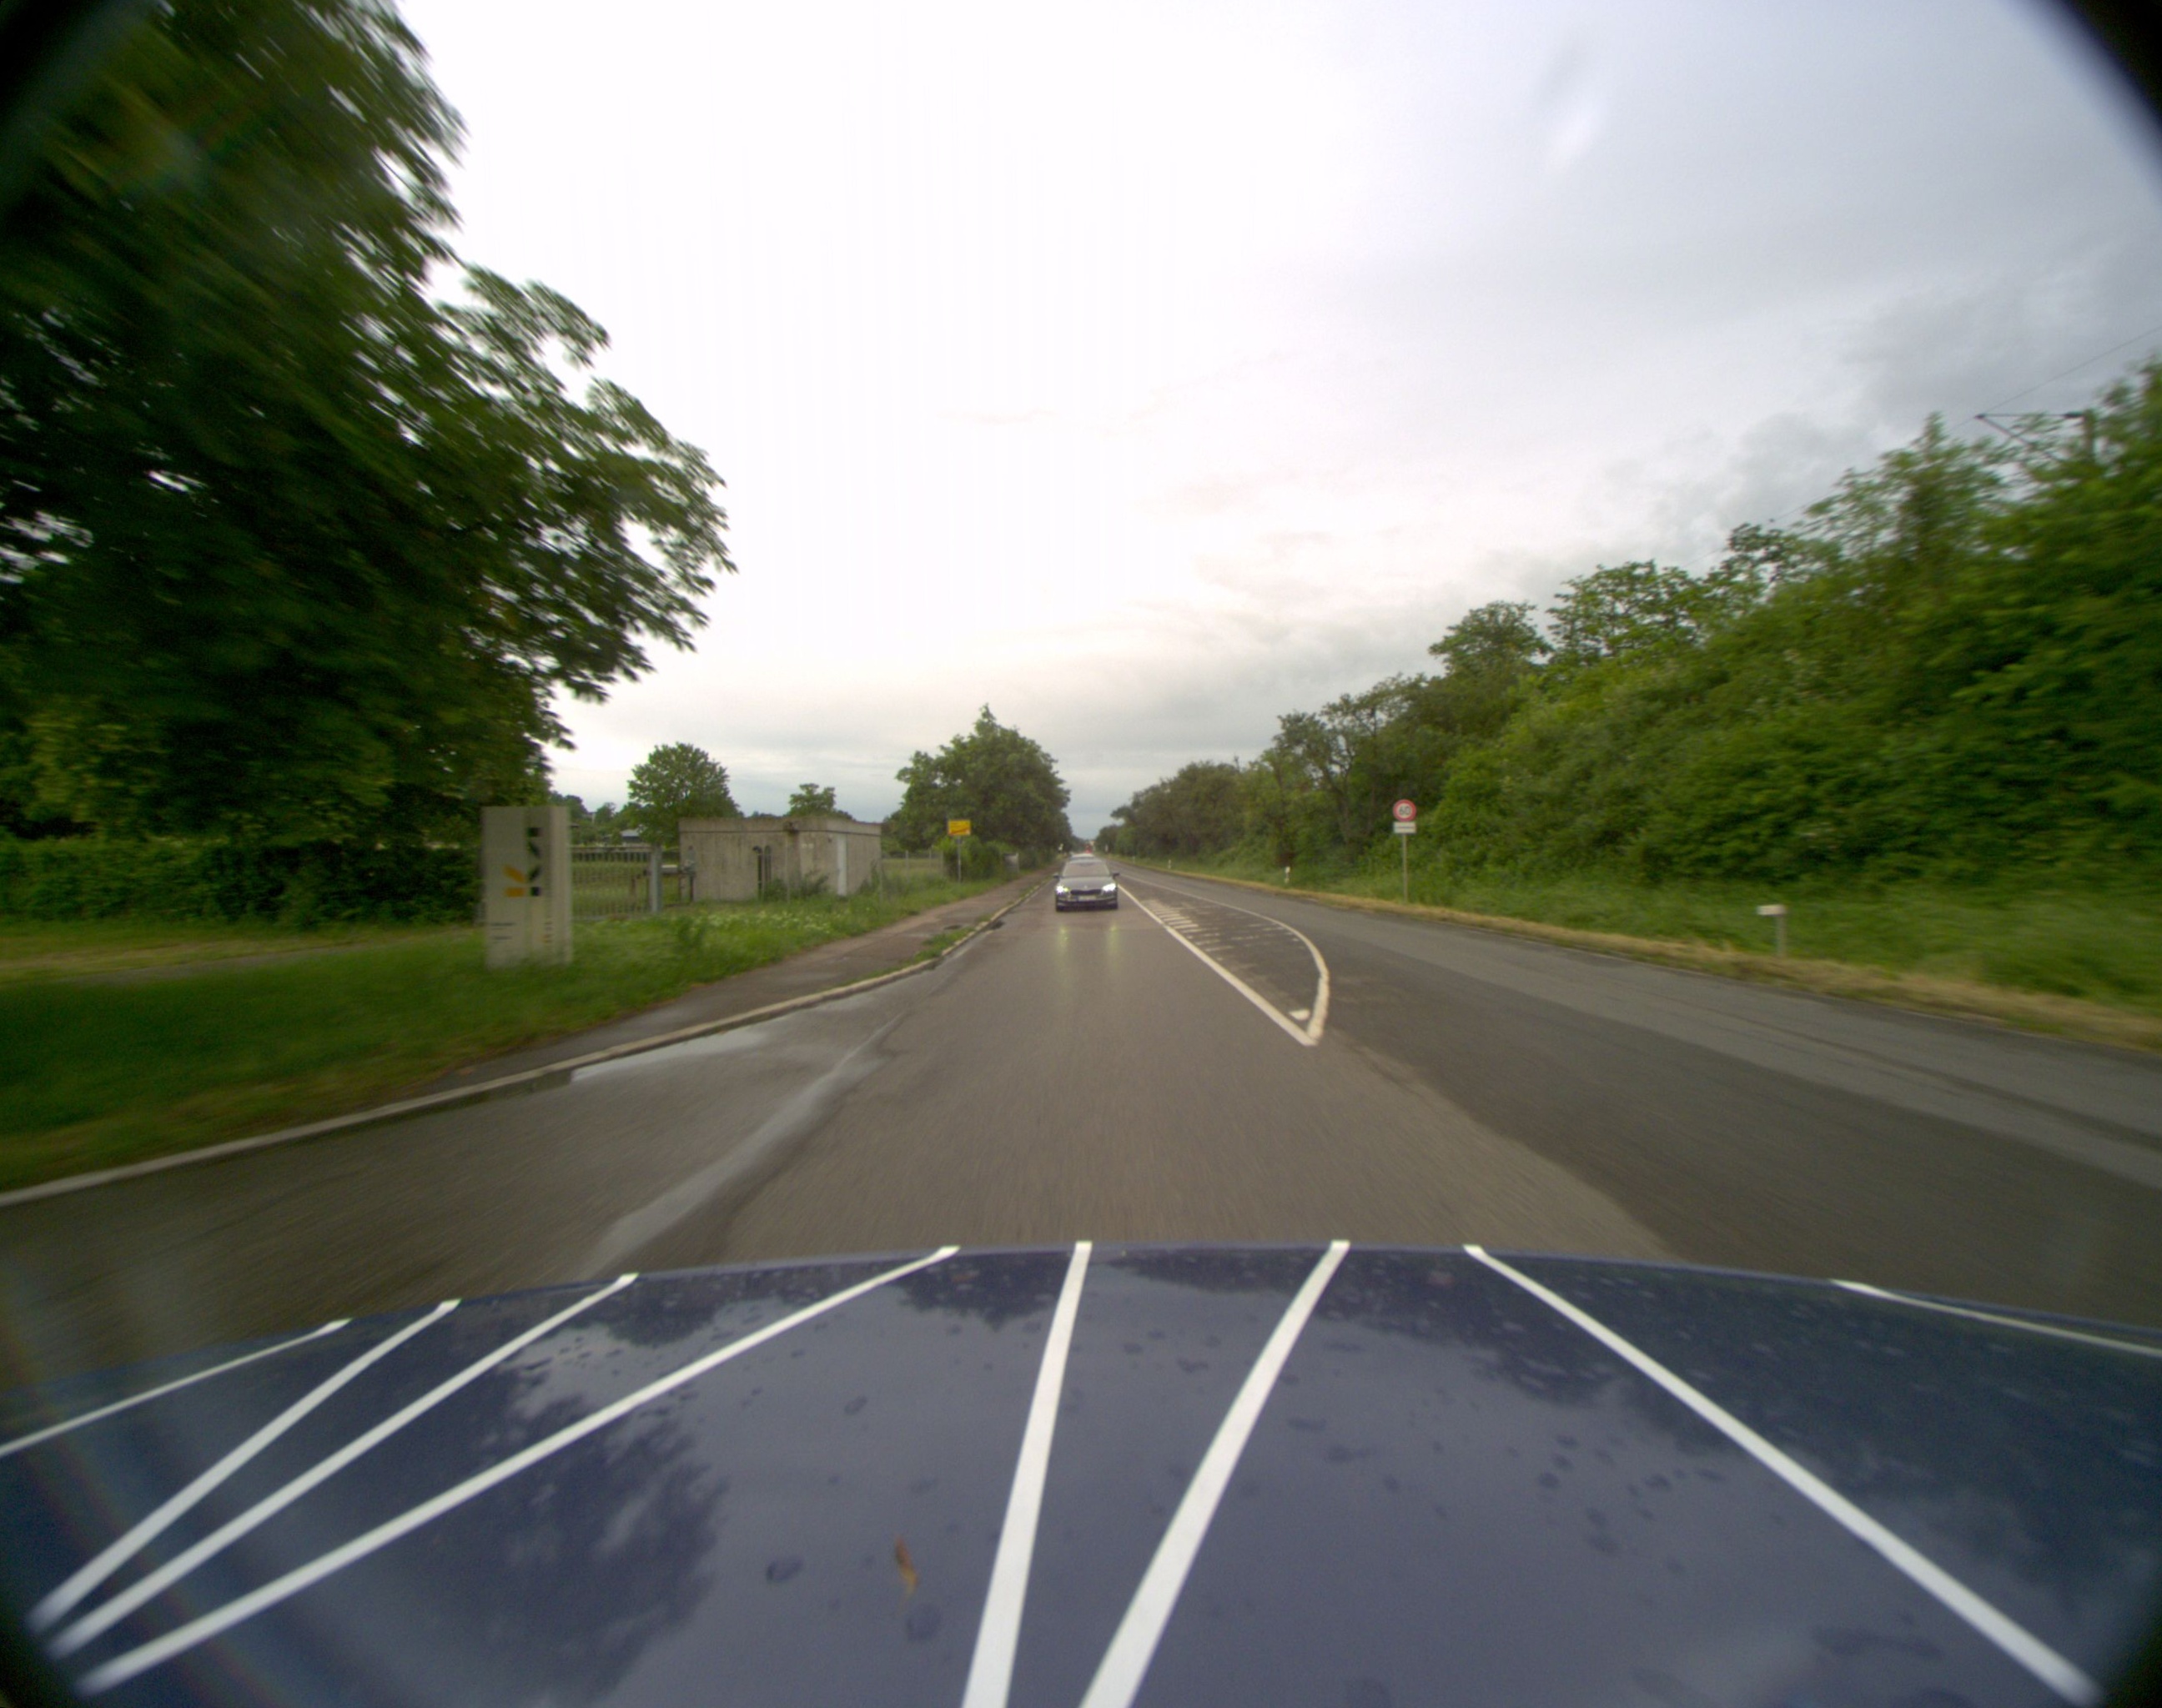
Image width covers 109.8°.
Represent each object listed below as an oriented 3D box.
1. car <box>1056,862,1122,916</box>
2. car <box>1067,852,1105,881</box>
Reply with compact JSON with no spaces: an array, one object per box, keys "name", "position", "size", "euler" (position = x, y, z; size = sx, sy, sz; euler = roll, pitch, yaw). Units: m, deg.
[{"name":"car","position":[0.252,0.978,22.831],"size":[1.797,1.443,4.259],"euler":[0,0,1]},{"name":"car","position":[0.315,0.684,42.408],"size":[1.998,1.537,4.000],"euler":[0,0,2]}]
